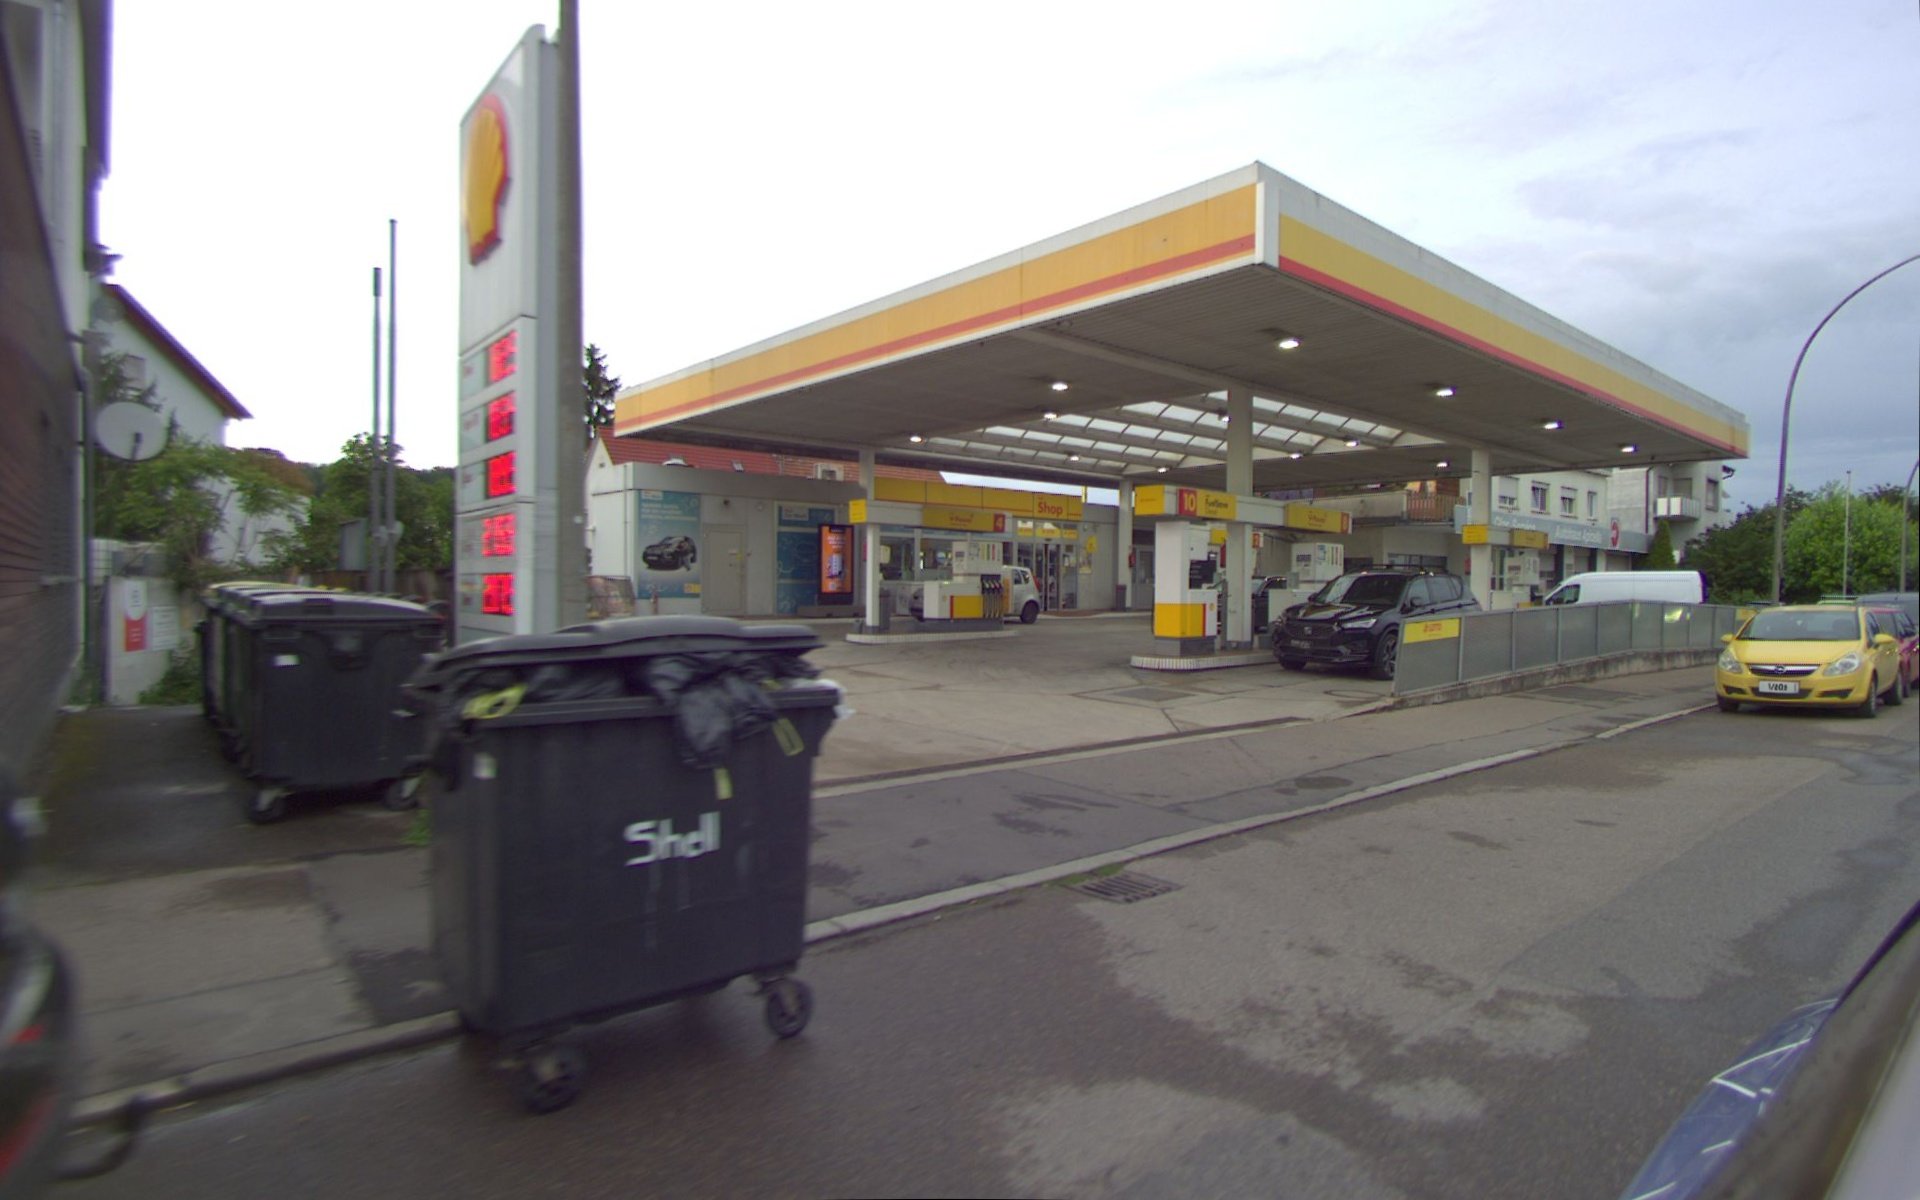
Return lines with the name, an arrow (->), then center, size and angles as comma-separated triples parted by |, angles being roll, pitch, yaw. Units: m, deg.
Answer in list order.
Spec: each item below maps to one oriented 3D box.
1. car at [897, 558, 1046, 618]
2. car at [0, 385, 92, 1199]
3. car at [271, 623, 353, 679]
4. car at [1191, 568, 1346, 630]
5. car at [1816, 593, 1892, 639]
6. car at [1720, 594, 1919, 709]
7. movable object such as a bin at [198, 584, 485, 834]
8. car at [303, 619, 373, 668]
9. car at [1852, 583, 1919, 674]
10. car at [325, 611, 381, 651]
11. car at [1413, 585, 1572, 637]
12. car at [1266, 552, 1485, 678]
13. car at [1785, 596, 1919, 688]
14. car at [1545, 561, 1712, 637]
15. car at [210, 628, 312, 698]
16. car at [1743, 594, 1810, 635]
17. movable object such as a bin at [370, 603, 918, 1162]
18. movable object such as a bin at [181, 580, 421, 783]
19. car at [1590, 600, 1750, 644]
car -> 0.341, -0.300, 26.746 | 3.714, 1.484, 1.743 | 0, 0, -41
car -> -3.527, 0.542, 0.630 | 4.478, 1.683, 2.094 | 1, -1, -41
car -> -19.631, 1.491, 30.803 | 1.643, 1.393, 3.846 | 1, 1, -26
car -> 8.201, -0.023, 26.696 | 4.591, 1.484, 1.743 | 0, 0, -41
car -> 34.928, 0.601, 39.510 | 1.994, 1.704, 3.935 | 1, 0, 45
car -> 12.298, 0.632, 14.387 | 3.735, 1.419, 1.659 | 0, 0, -41
movable object such as a bin -> -3.906, 0.587, 6.399 | 1.361, 1.356, 1.103 | 0, 1, -42
car -> -21.079, 1.443, 34.397 | 1.643, 1.393, 3.589 | 1, 1, -26
car -> 20.212, 0.562, 21.240 | 4.367, 1.761, 1.658 | 0, -2, -41
car -> -23.215, 1.146, 38.645 | 1.579, 1.304, 3.306 | 1, 1, -35
car -> 17.928, 0.337, 34.268 | 4.282, 1.662, 1.998 | 1, 0, 4
car -> 6.910, 0.187, 16.650 | 3.933, 1.781, 1.822 | 0, 3, -43
car -> 15.737, 0.647, 17.502 | 3.954, 1.394, 1.659 | 0, 0, -41
car -> 23.876, -0.072, 36.403 | 4.760, 2.552, 2.225 | 1, 0, 28
car -> -17.533, 1.520, 25.549 | 1.643, 1.393, 3.845 | 1, 1, -28
car -> 34.484, 0.574, 42.717 | 3.671, 1.538, 1.749 | 1, 3, -45
movable object such as a bin -> -1.075, 0.728, 3.518 | 1.478, 1.406, 1.128 | 0, 1, -43
movable object such as a bin -> -4.971, 0.538, 7.644 | 1.361, 1.356, 1.103 | 0, 1, -42
car -> 23.415, 0.704, 33.509 | 3.934, 1.392, 1.776 | 0, 1, 9
